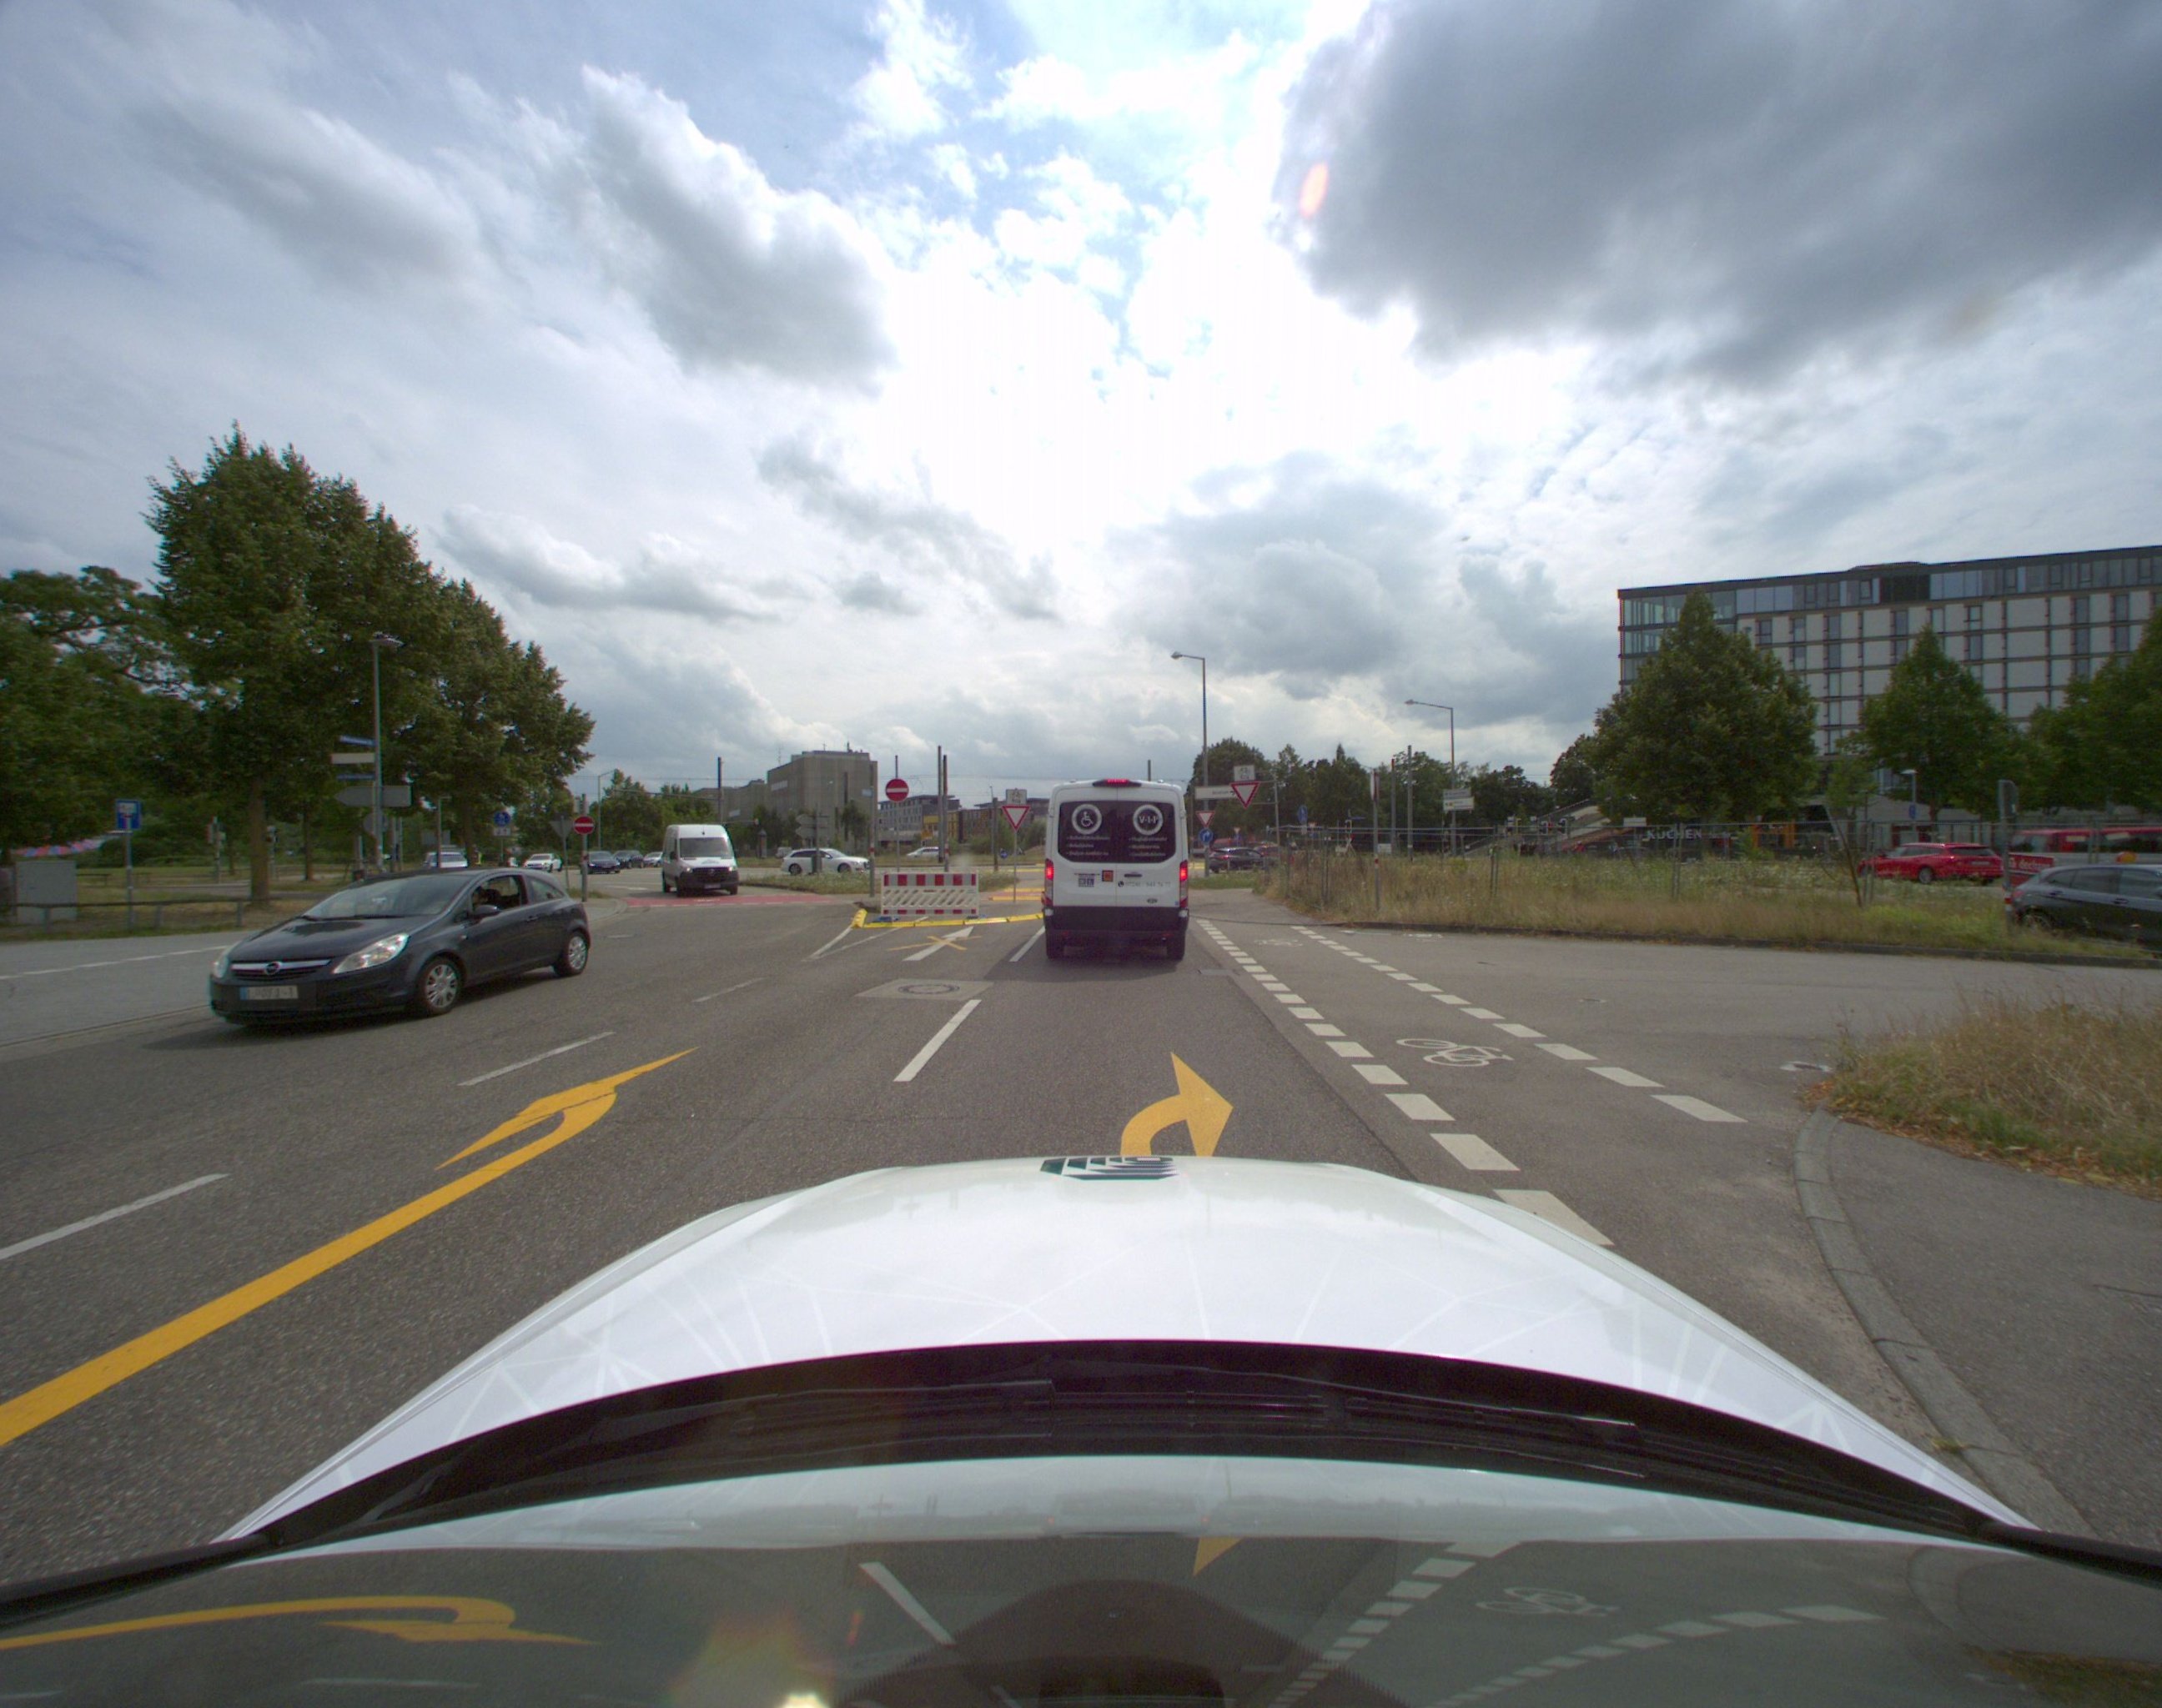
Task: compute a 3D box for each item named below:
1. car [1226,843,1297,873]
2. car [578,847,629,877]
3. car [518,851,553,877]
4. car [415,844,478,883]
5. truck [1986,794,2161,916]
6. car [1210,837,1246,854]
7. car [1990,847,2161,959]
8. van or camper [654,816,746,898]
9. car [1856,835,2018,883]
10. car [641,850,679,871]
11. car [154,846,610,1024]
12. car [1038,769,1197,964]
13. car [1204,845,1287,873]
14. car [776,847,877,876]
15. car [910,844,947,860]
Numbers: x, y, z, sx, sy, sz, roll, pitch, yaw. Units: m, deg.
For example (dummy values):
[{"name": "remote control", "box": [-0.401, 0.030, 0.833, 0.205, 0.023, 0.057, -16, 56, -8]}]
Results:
[{"name": "car", "box": [11.393, 0.236, 51.407, 4.004, 1.662, 1.876, -3, 1, -23]}, {"name": "car", "box": [-31.281, 0.540, 53.299, 2.011, 1.771, 3.951, -3, 1, -42]}, {"name": "car", "box": [-40.932, 0.733, 61.220, 1.773, 1.771, 3.963, -3, 1, -29]}, {"name": "car", "box": [-35.354, 0.556, 45.375, 3.949, 2.013, 2.013, -2, 1, 42]}, {"name": "truck", "box": [23.678, -0.008, 16.541, 6.599, 2.426, 2.549, 0, 0, 26]}, {"name": "car", "box": [16.158, -0.906, 89.817, 2.013, 1.816, 4.383, -3, 1, -19]}, {"name": "car", "box": [16.413, 0.716, 11.899, 1.840, 1.497, 4.348, -2, 1, 9]}, {"name": "van or camper", "box": [-14.346, 0.095, 30.448, 2.165, 2.725, 6.212, -3, 1, -33]}, {"name": "car", "box": [30.324, 0.161, 29.071, 1.776, 1.562, 4.455, -1, 0, 11]}, {"name": "car", "box": [-39.408, 0.567, 76.365, 1.760, 1.771, 3.992, -2, 1, -6]}, {"name": "car", "box": [-7.185, 0.674, 9.097, 1.770, 1.478, 4.246, -1, 0, -7]}, {"name": "car", "box": [0.573, 0.161, 12.756, 2.054, 2.540, 4.003, 1, 0, 2]}, {"name": "car", "box": [9.271, 0.262, 45.859, 4.360, 1.354, 1.610, -3, 1, -23]}, {"name": "car", "box": [-13.961, 0.397, 44.784, 4.997, 1.578, 1.870, 0, 0, 9]}, {"name": "car", "box": [-18.408, -0.223, 98.470, 4.015, 1.771, 1.750, -3, 1, -33]}]
